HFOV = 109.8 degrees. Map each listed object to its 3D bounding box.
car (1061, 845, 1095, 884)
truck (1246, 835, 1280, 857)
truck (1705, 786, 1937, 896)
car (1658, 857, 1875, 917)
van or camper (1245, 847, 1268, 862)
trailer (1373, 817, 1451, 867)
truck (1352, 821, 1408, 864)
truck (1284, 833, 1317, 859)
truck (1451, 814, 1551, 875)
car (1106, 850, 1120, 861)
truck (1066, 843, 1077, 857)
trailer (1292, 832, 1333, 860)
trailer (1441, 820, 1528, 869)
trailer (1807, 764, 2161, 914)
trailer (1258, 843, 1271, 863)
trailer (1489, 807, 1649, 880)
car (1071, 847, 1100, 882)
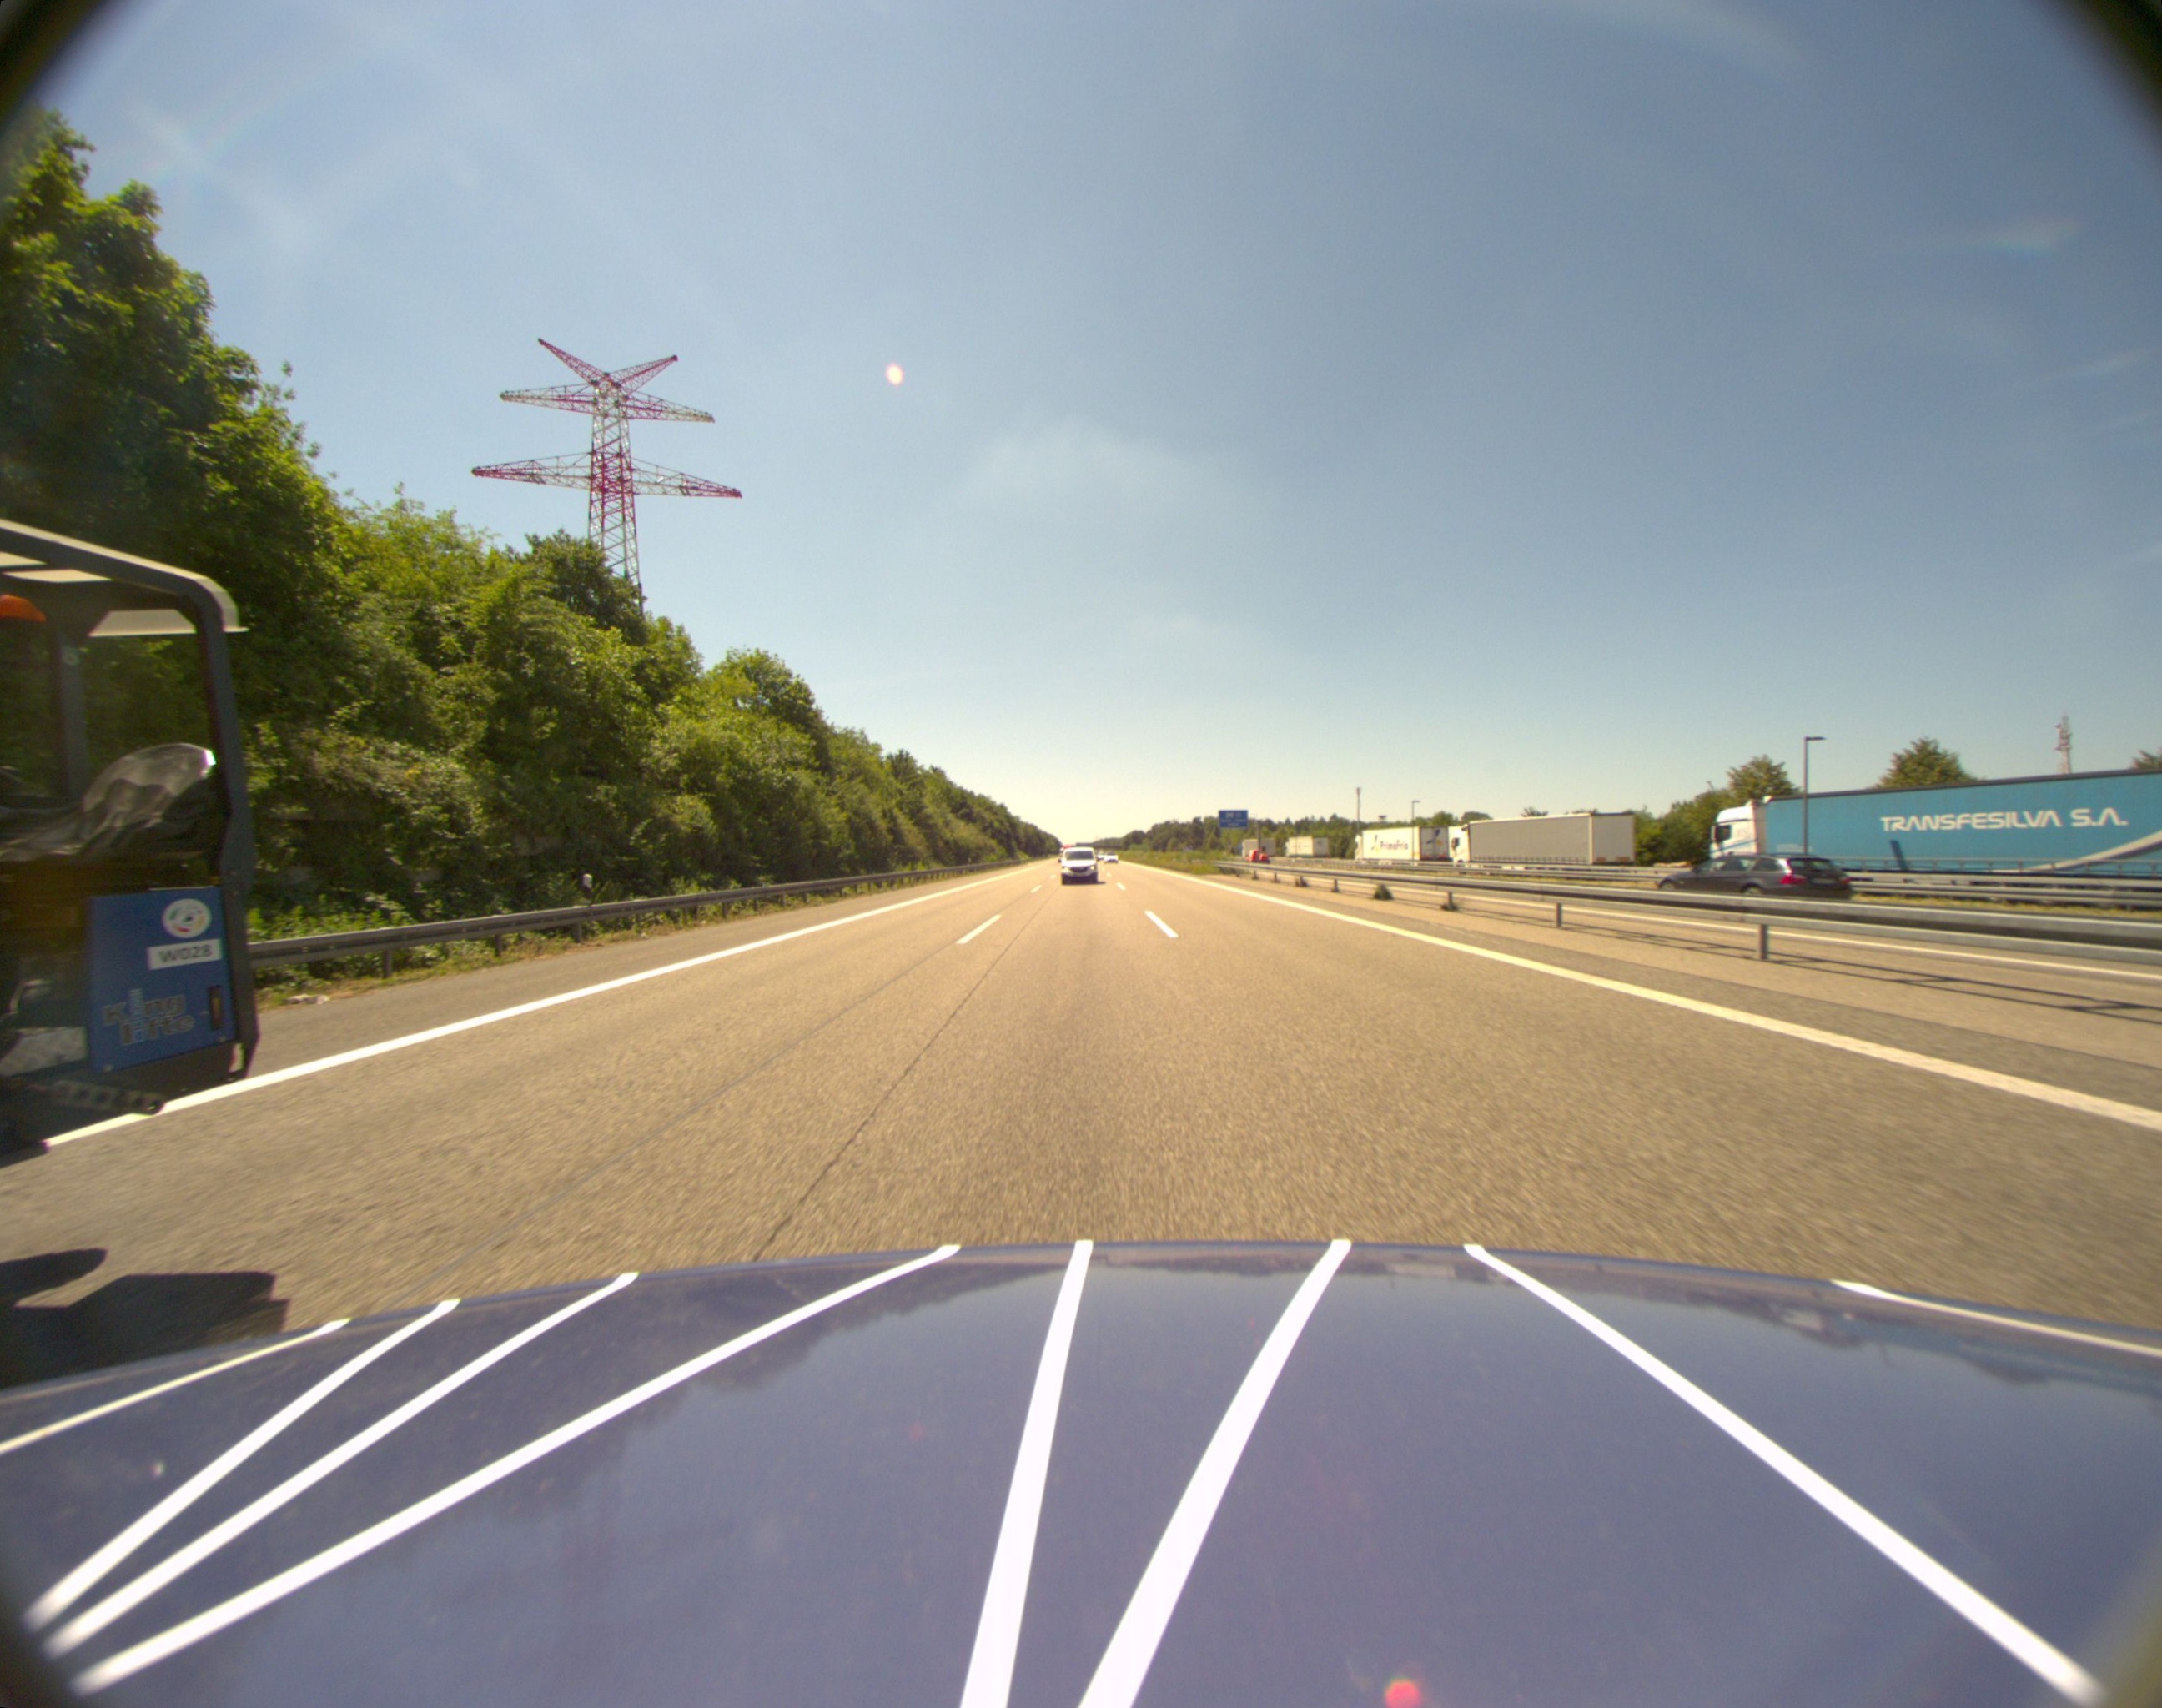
[{"bbox_3d":[-0.133,0.469,37.799,1.501,1.799,3.393,-3,1,0],"label":"car"},{"bbox_3d":[33.027,-1.417,138.430,2.806,3.622,13.604,-3,0,0],"label":"truck"},{"bbox_3d":[30.943,-0.514,32.316,2.857,4.049,7.088,-3,1,0],"label":"truck"},{"bbox_3d":[17.533,0.774,19.790,1.746,1.269,4.318,2,1,1],"label":"car"},{"bbox_3d":[21.981,0.085,95.359,1.901,1.828,4.746,-1,0,0],"label":"van or camper"},{"bbox_3d":[30.846,-1.086,71.359,2.605,4.194,10.513,-3,1,0],"label":"trailer"},{"bbox_3d":[30.892,-1.152,78.900,2.588,4.164,7.935,-2,1,0],"label":"truck"},{"bbox_3d":[37.887,-1.355,131.269,3.103,4.128,8.315,-3,1,0],"label":"truck"},{"bbox_3d":[31.095,-0.691,56.735,3.125,4.134,7.503,-3,1,-1],"label":"truck"},{"bbox_3d":[4.333,0.188,102.166,1.775,1.410,3.401,-3,1,1],"label":"car"},{"bbox_3d":[-2.595,-1.106,202.195,2.540,3.656,5.219,-3,1,1],"label":"truck"},{"bbox_3d":[37.864,-1.304,124.782,3.102,4.132,12.009,-3,1,0],"label":"trailer"},{"bbox_3d":[35.650,-0.808,67.671,2.702,3.983,9.306,-3,1,0],"label":"trailer"},{"bbox_3d":[30.991,-0.494,24.836,2.840,4.124,12.082,-3,1,0],"label":"trailer"},{"bbox_3d":[22.012,-0.130,91.160,1.170,2.355,1.998,-1,1,0],"label":"trailer"},{"bbox_3d":[31.171,-0.647,49.454,3.121,4.134,11.013,-3,1,-1],"label":"trailer"},{"bbox_3d":[0.241,0.523,41.484,1.413,1.795,3.200,-3,1,0],"label":"car"}]
